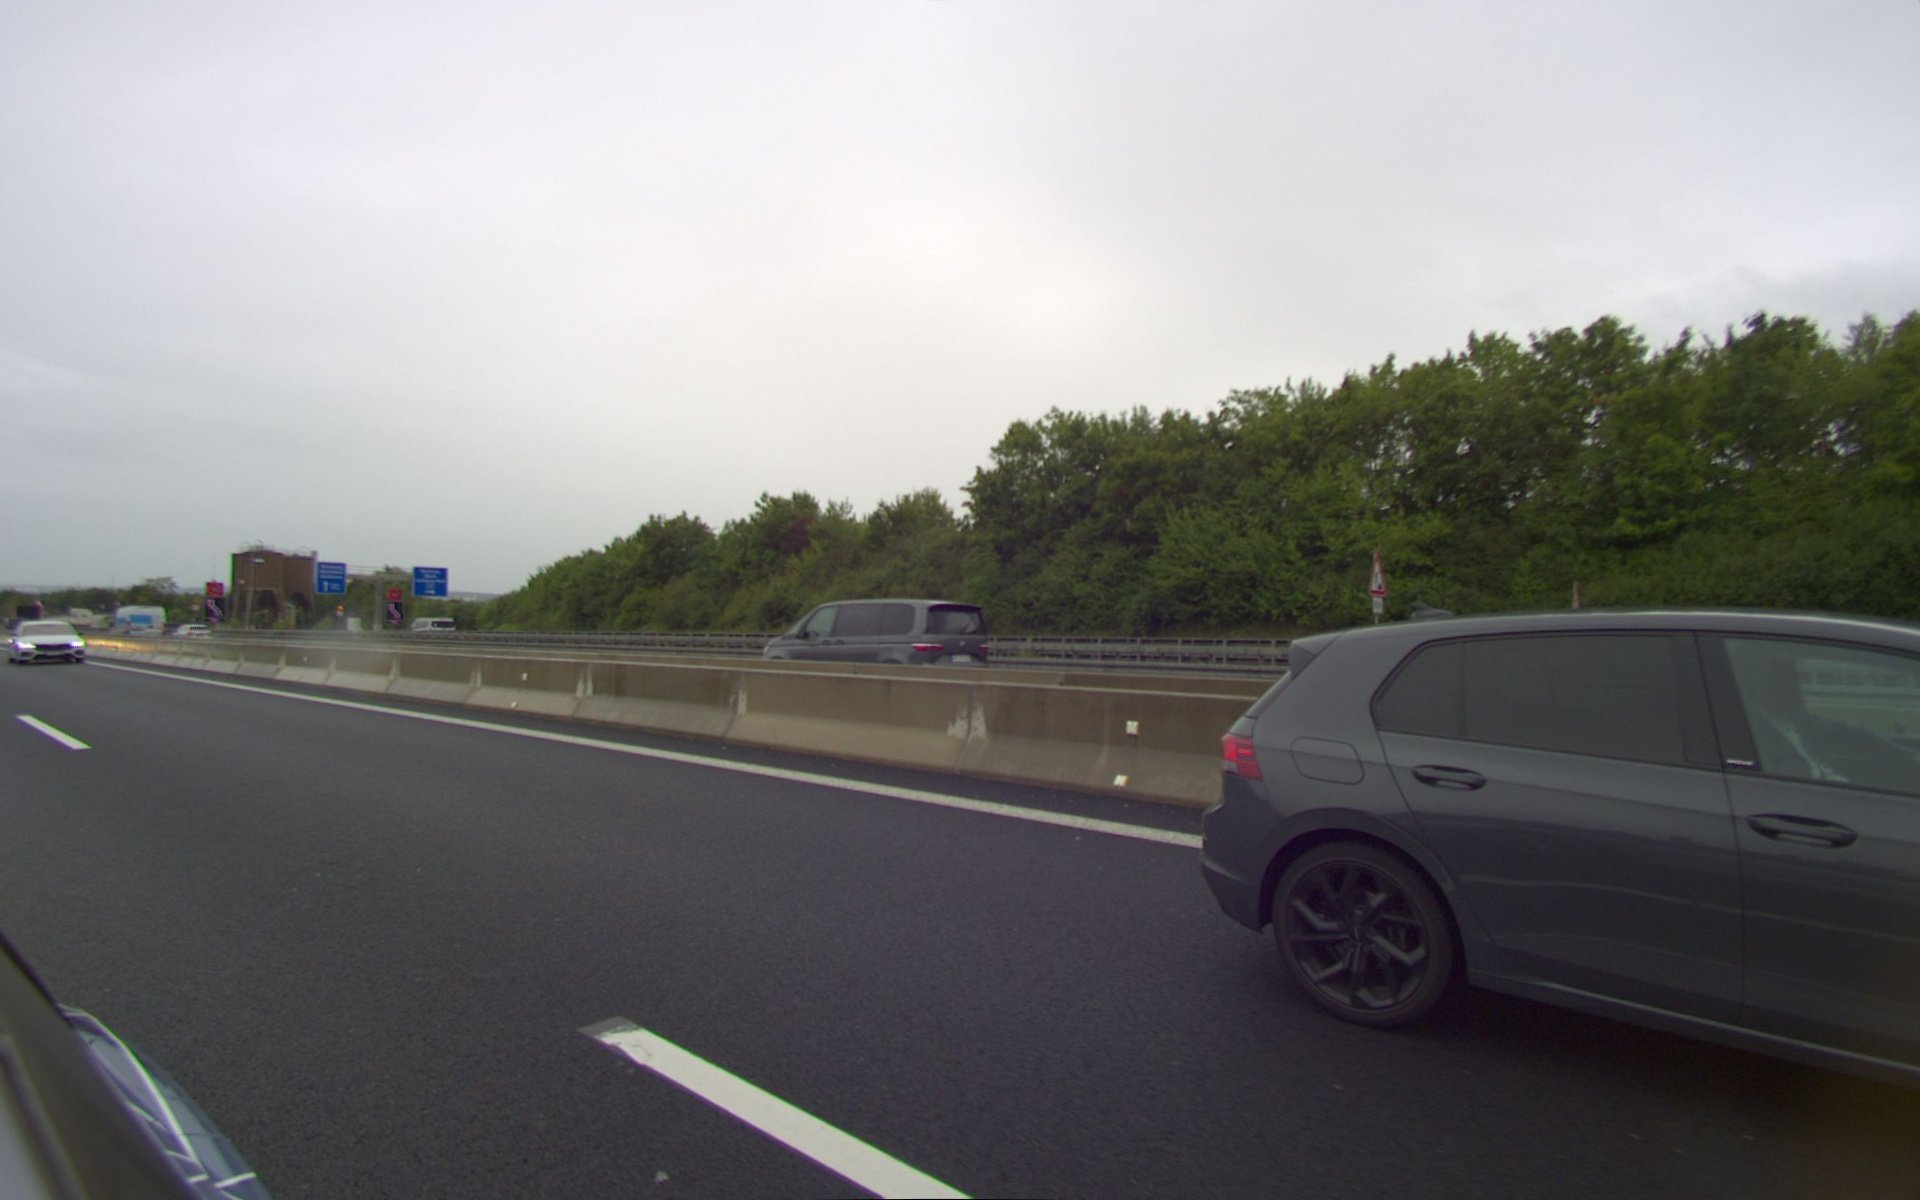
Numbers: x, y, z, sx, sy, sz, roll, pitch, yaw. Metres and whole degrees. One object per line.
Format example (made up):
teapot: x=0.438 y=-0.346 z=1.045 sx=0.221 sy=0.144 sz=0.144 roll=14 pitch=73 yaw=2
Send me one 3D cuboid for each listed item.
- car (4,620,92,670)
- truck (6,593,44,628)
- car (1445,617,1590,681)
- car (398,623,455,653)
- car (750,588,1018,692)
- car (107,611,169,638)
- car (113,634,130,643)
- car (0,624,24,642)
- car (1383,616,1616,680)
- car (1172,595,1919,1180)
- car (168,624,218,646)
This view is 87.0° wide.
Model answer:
car: x=-32.010 y=1.525 z=35.483 sx=4.818 sy=1.603 sz=1.971 roll=-2 pitch=-1 yaw=44
truck: x=-130.960 y=1.553 z=141.711 sx=10.488 sy=4.769 sz=3.362 roll=-2 pitch=-1 yaw=44
car: x=18.884 y=1.622 z=34.366 sx=4.000 sy=2.029 sz=1.730 roll=-1 pitch=-2 yaw=43
car: x=-37.793 y=2.661 z=71.642 sx=4.713 sy=2.029 sz=1.973 roll=-1 pitch=-1 yaw=41
car: x=-1.528 y=0.694 z=18.724 sx=5.024 sy=1.663 sz=1.973 roll=-2 pitch=0 yaw=41
car: x=-53.696 y=1.609 z=66.046 sx=5.907 sy=1.706 sz=2.332 roll=-2 pitch=-2 yaw=43
car: x=-127.470 y=5.855 z=153.855 sx=3.999 sy=1.409 sz=1.506 roll=-1 pitch=-1 yaw=42
car: x=-99.404 y=3.425 z=105.649 sx=4.676 sy=1.850 sz=1.973 roll=-2 pitch=0 yaw=41
car: x=13.067 y=1.124 z=24.694 sx=4.676 sy=1.417 sz=1.972 roll=-2 pitch=-2 yaw=43
car: x=3.035 y=0.702 z=3.092 sx=4.367 sy=1.436 sz=1.811 roll=-1 pitch=-1 yaw=42
car: x=-54.752 y=2.489 z=72.191 sx=4.678 sy=1.446 sz=1.972 roll=-2 pitch=0 yaw=42
